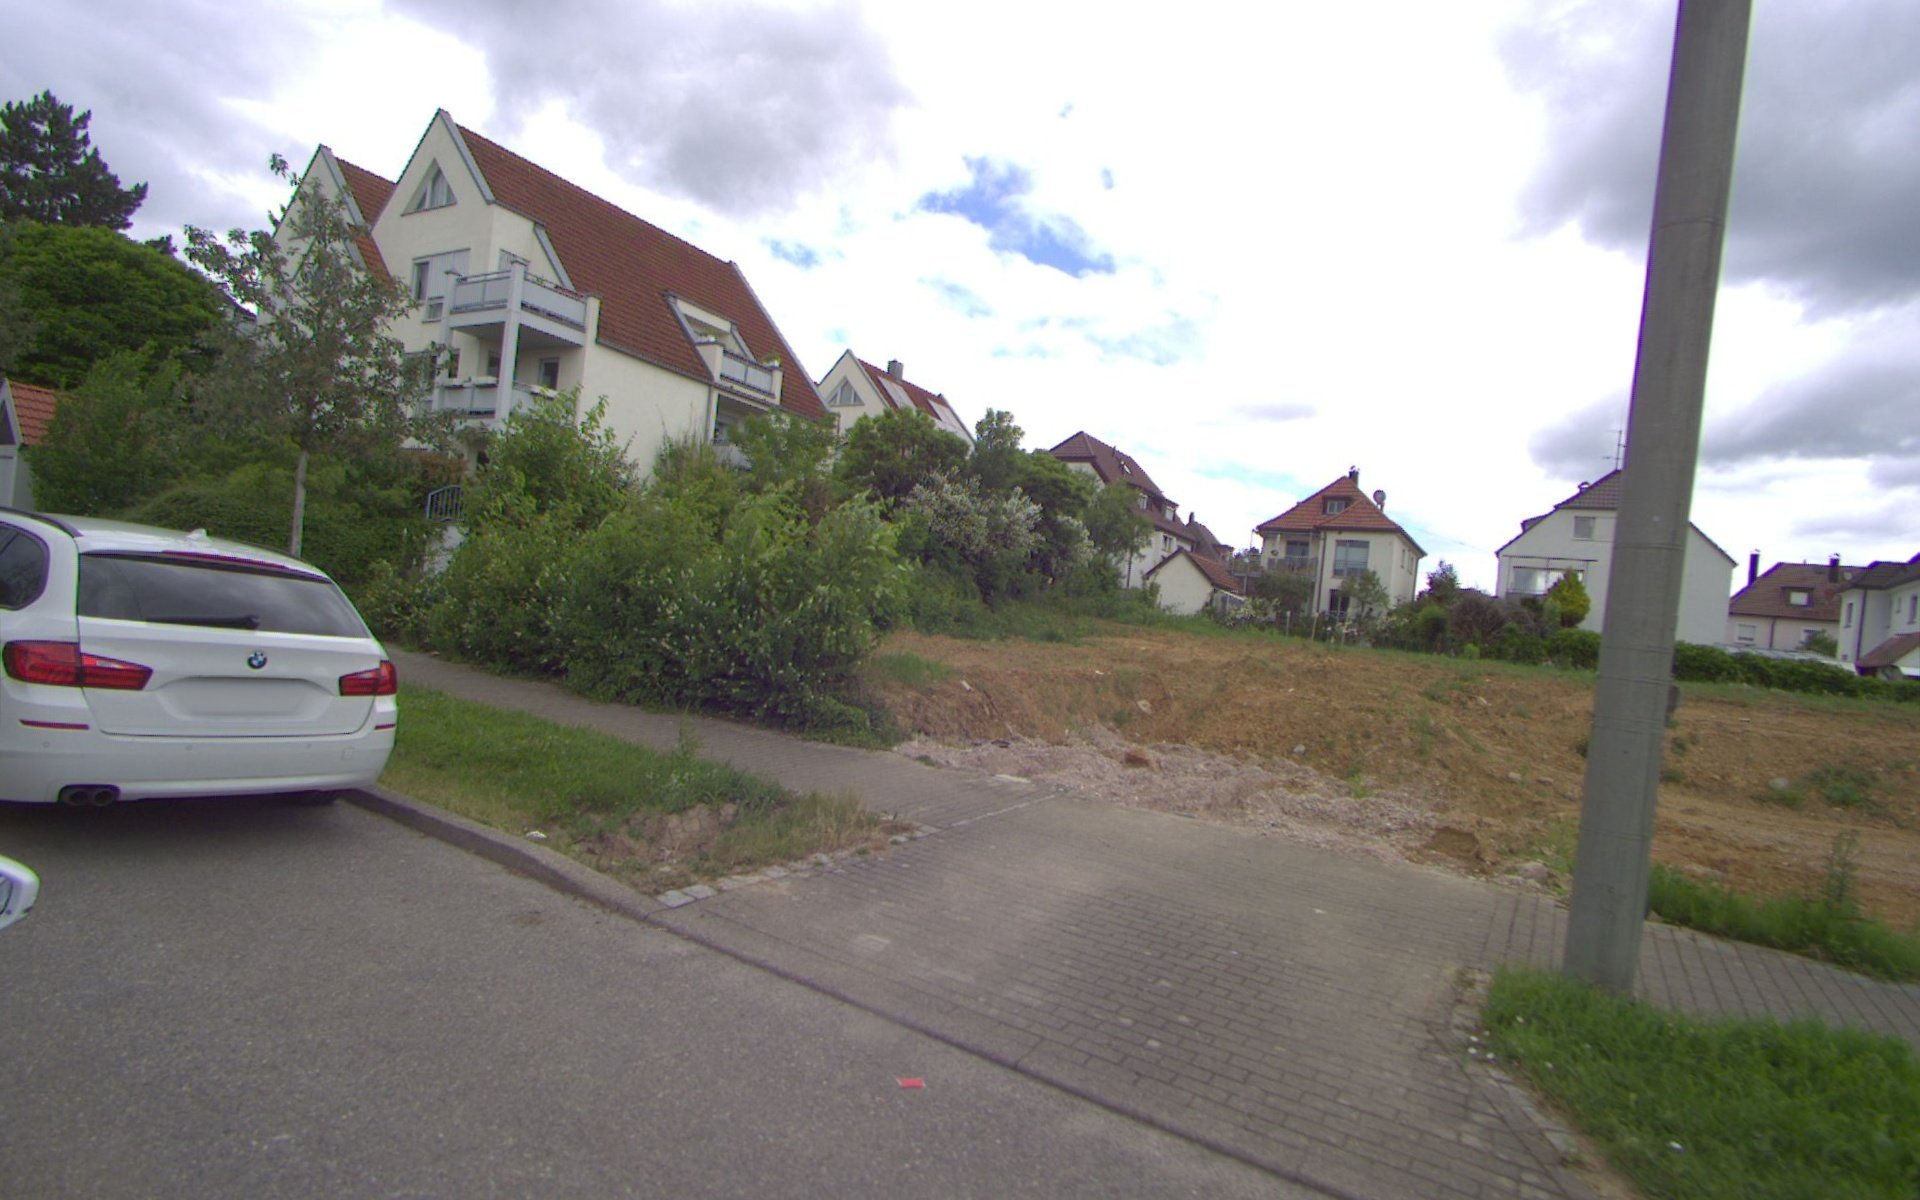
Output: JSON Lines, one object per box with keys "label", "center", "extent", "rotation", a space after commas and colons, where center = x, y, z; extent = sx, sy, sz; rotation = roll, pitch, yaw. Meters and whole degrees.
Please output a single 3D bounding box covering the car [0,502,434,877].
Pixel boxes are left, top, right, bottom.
{"label": "car", "center": [-5.167, 0.233, 5.780], "extent": [4.331, 1.470, 1.697], "rotation": [7, -2, 32]}
